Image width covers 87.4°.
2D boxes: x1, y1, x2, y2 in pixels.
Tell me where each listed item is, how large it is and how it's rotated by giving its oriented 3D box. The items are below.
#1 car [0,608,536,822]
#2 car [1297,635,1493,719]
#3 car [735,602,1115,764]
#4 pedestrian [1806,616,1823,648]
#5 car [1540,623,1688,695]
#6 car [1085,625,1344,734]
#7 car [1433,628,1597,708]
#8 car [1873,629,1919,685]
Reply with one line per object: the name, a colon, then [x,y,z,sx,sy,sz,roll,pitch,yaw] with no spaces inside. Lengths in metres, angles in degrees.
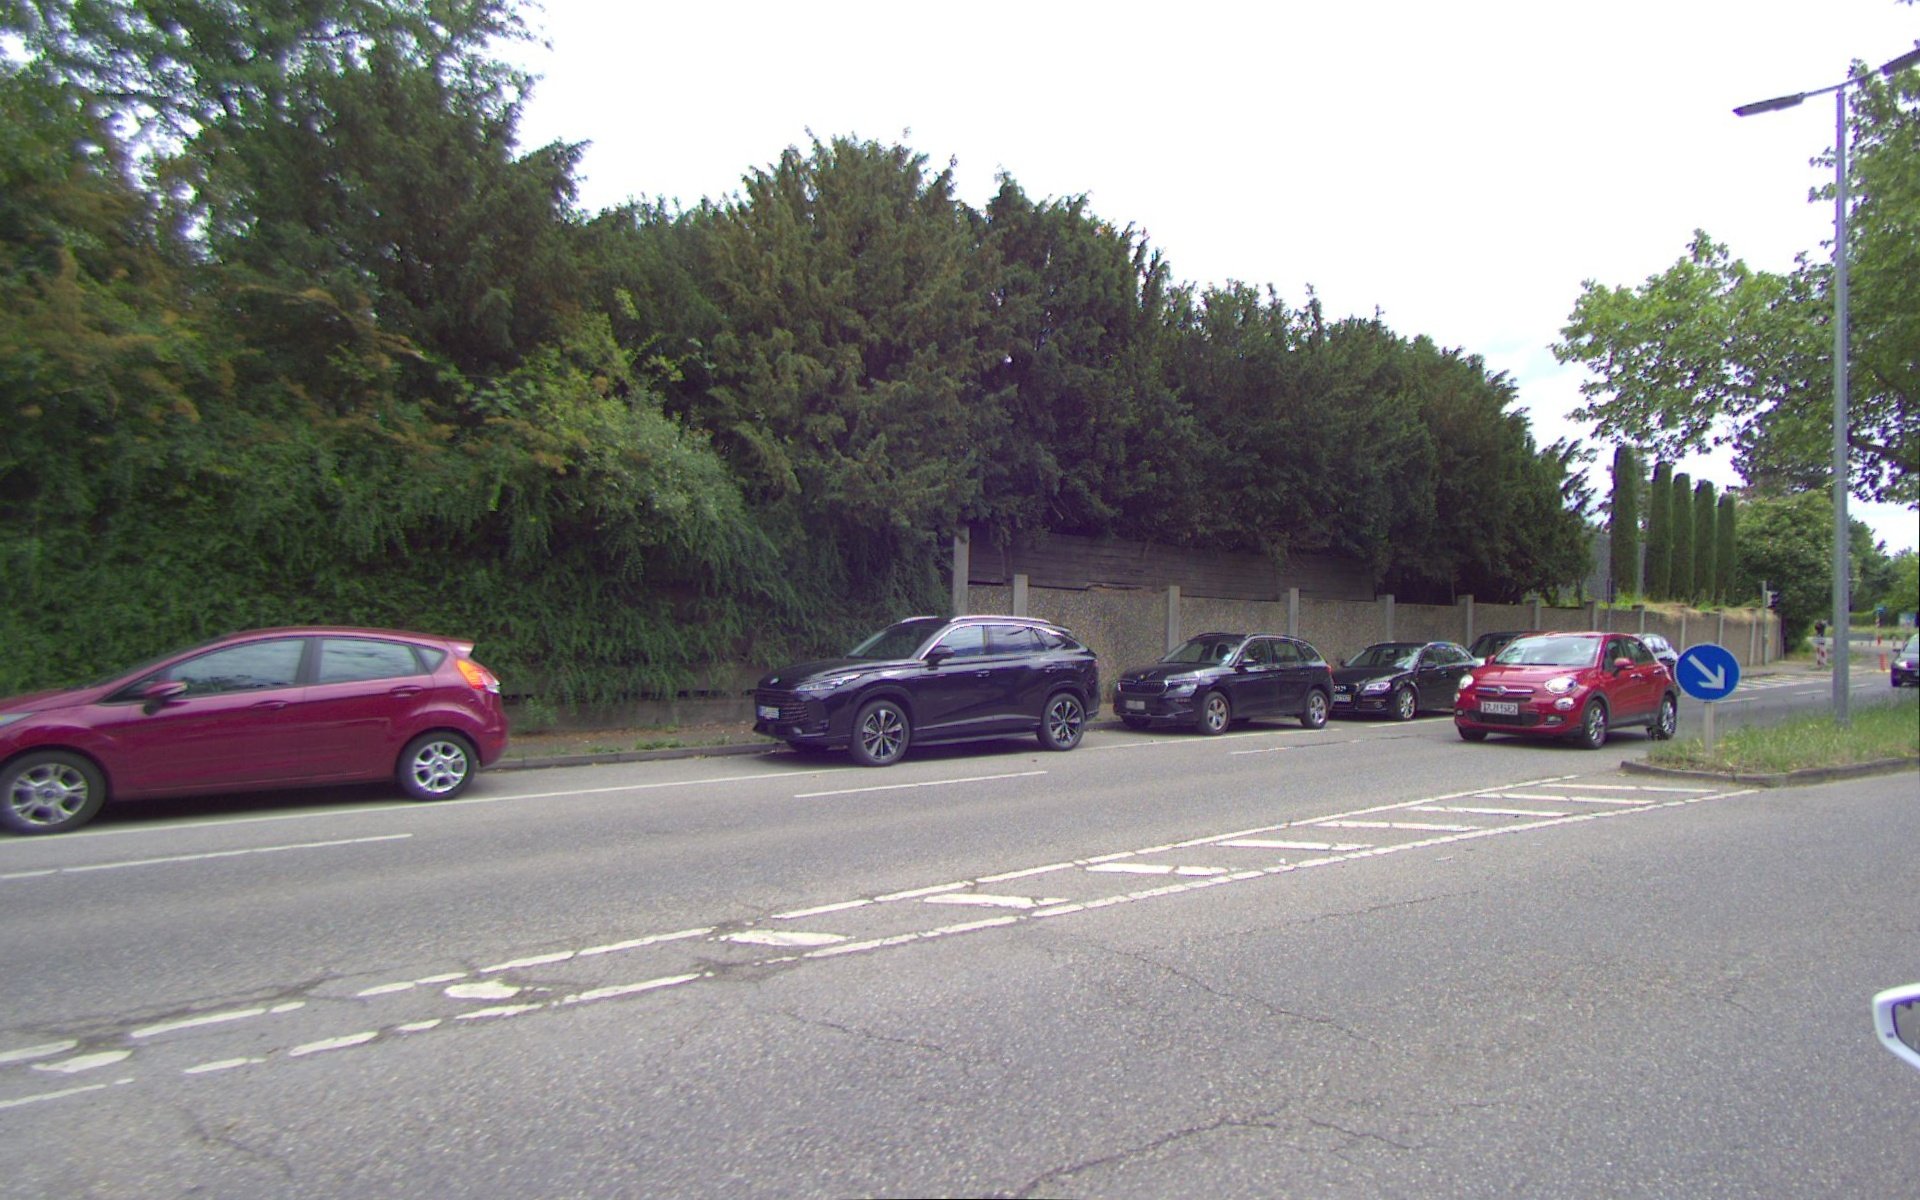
car: [-5.892,0.850,8.450,3.965,1.457,1.766,3,-2,-38]
car: [8.440,1.437,19.340,4.183,1.419,1.636,3,-2,-37]
car: [-0.325,0.954,12.515,4.427,1.664,1.978,3,-2,-38]
pedestrian: [55.674,2.062,65.445,0.731,2.041,0.629,3,3,44]
car: [16.679,1.482,25.544,4.392,1.646,1.873,3,-2,-39]
car: [4.157,1.224,16.148,4.065,1.531,1.933,3,-3,-37]
car: [12.389,1.474,22.344,4.058,1.613,1.661,2,-3,-37]
car: [29.707,1.750,30.676,3.960,1.608,1.984,3,-2,-37]
